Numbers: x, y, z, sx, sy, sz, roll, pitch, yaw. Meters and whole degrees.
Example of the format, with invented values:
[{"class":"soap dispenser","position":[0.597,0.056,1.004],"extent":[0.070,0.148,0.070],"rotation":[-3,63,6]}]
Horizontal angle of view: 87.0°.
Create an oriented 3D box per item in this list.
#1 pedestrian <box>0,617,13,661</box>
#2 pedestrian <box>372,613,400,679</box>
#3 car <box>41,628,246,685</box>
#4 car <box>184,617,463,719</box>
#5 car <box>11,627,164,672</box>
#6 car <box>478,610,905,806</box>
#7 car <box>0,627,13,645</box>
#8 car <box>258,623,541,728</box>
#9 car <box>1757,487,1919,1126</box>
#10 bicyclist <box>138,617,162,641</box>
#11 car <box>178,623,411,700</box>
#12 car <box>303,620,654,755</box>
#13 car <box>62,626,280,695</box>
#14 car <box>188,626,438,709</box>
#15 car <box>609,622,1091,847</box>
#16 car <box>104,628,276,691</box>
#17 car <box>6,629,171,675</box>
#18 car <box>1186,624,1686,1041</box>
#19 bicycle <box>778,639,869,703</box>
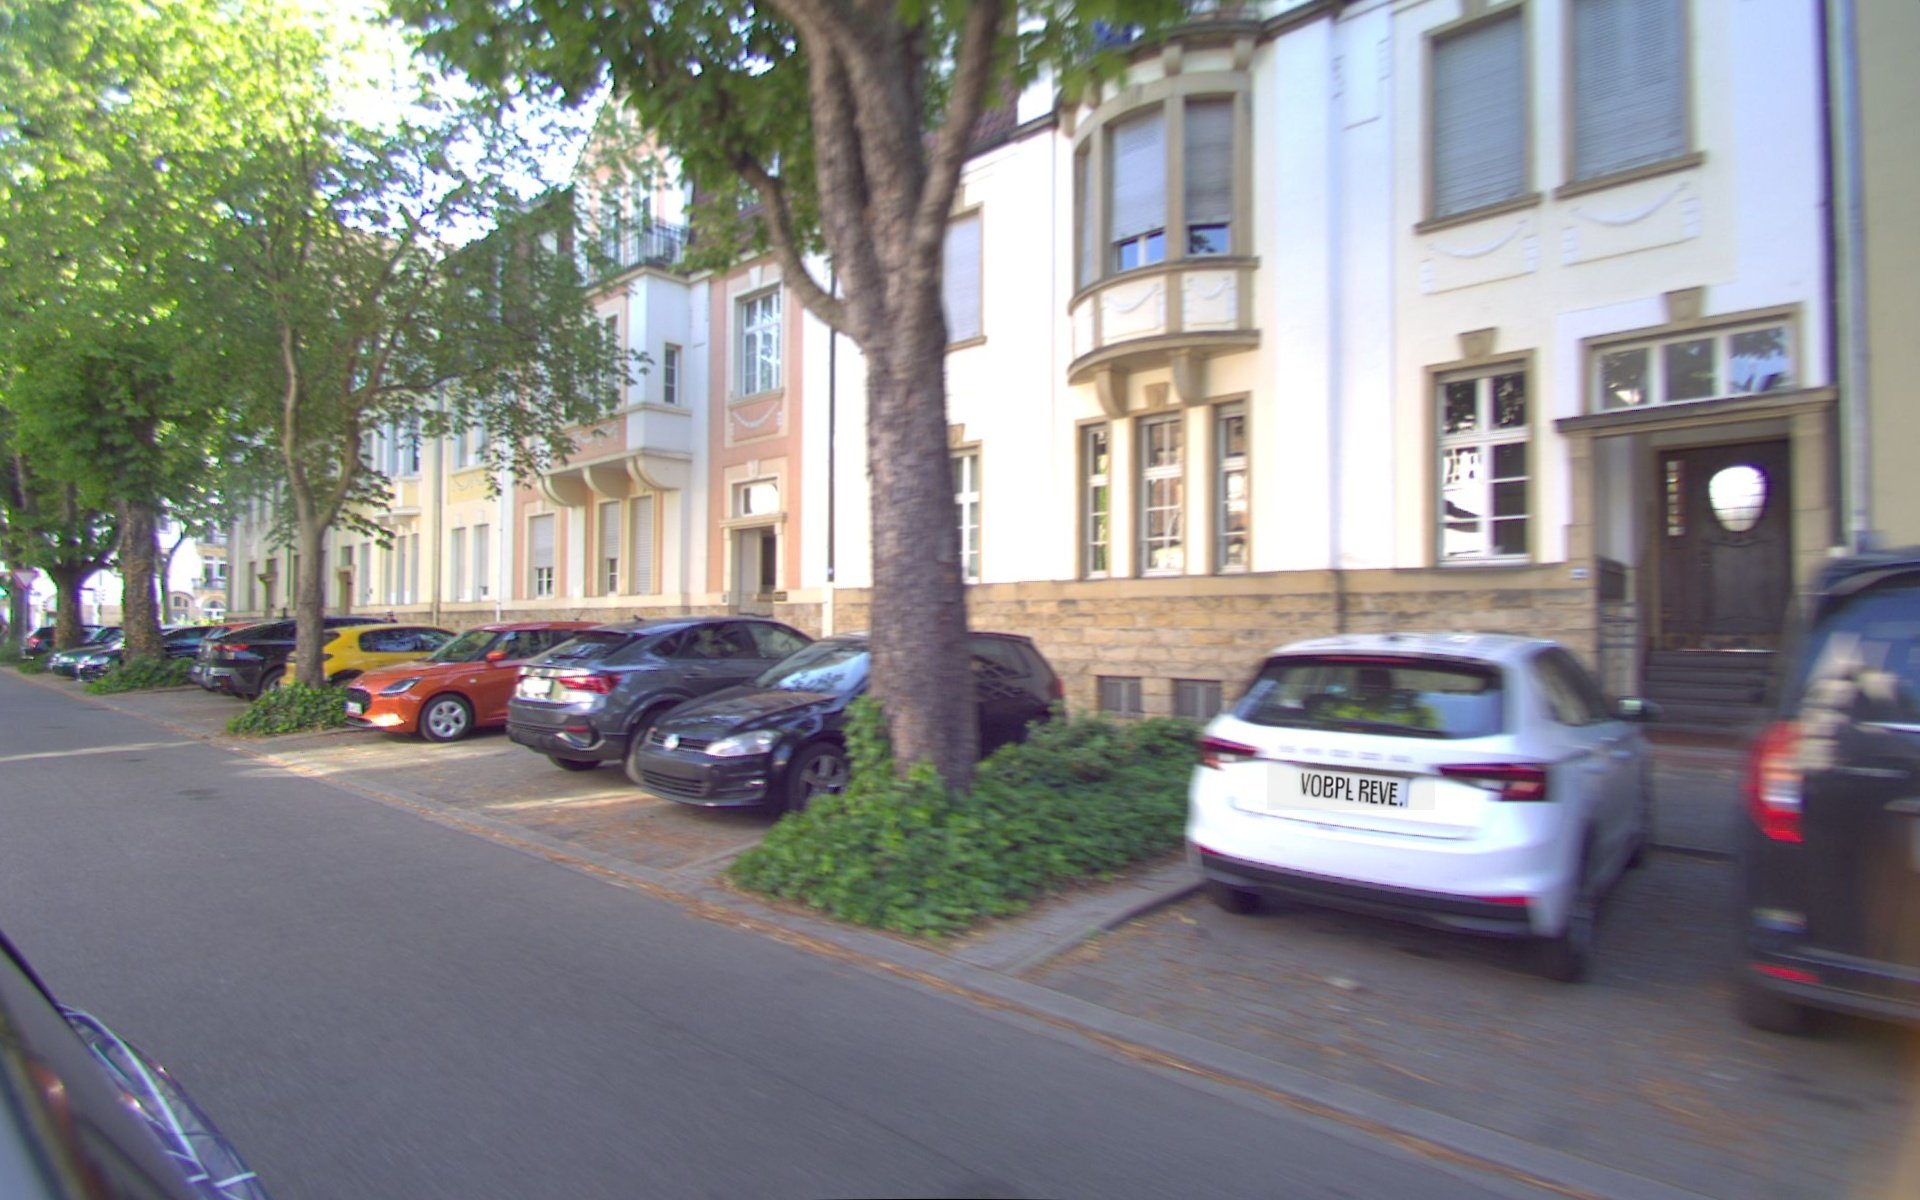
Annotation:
[{"class":"pedestrian","position":[-37.377,1.514,39.362],"extent":[0.684,1.695,0.681],"rotation":[1,-2,-37]},{"class":"pedestrian","position":[-14.900,1.177,26.252],"extent":[0.454,1.671,0.896],"rotation":[2,-2,-40]},{"class":"car","position":[-22.330,1.501,27.806],"extent":[1.702,1.359,4.167],"rotation":[0,-1,41]},{"class":"car","position":[-11.386,1.125,18.284],"extent":[1.863,1.578,3.943],"rotation":[-1,-1,43]},{"class":"car","position":[-30.334,1.710,35.273],"extent":[1.615,1.487,3.841],"rotation":[-1,-3,41]},{"class":"car","position":[-2.612,0.930,10.535],"extent":[1.858,1.604,3.945],"rotation":[-1,-1,41]},{"class":"car","position":[-92.838,3.474,97.397],"extent":[1.887,1.671,4.357],"rotation":[-3,0,-36]},{"class":"car","position":[-9.229,1.152,16.850],"extent":[1.863,1.473,3.748],"rotation":[-1,-1,43]},{"class":"car","position":[4.500,0.624,4.108],"extent":[1.828,1.870,3.938],"rotation":[-1,-1,40]},{"class":"bicyclist","position":[-53.663,1.918,67.049],"extent":[0.687,1.554,1.060],"rotation":[-1,-2,41]},{"class":"car","position":[-14.467,1.304,22.162],"extent":[1.722,1.519,3.943],"rotation":[-1,-3,43]},{"class":"car","position":[-6.376,1.050,13.728],"extent":[1.747,1.526,3.945],"rotation":[0,-1,41]},{"class":"car","position":[-19.041,1.395,24.547],"extent":[1.785,1.493,3.943],"rotation":[-1,-1,43]},{"class":"car","position":[-12.936,1.271,20.388],"extent":[1.830,1.414,3.943],"rotation":[-1,-1,43]},{"class":"car","position":[-0.806,0.950,8.835],"extent":[3.856,1.457,1.861],"rotation":[0,-1,-43]},{"class":"car","position":[-20.336,1.519,26.793],"extent":[1.704,1.463,3.395],"rotation":[0,-1,44]},{"class":"car","position":[-28.662,1.675,33.378],"extent":[1.612,1.426,3.848],"rotation":[-1,-2,36]},{"class":"car","position":[2.935,0.876,5.712],"extent":[1.739,1.459,3.949],"rotation":[-1,-1,38]},{"class":"bicycle","position":[-2.226,1.124,16.424],"extent":[1.496,0.939,0.619],"rotation":[0,1,41]}]
